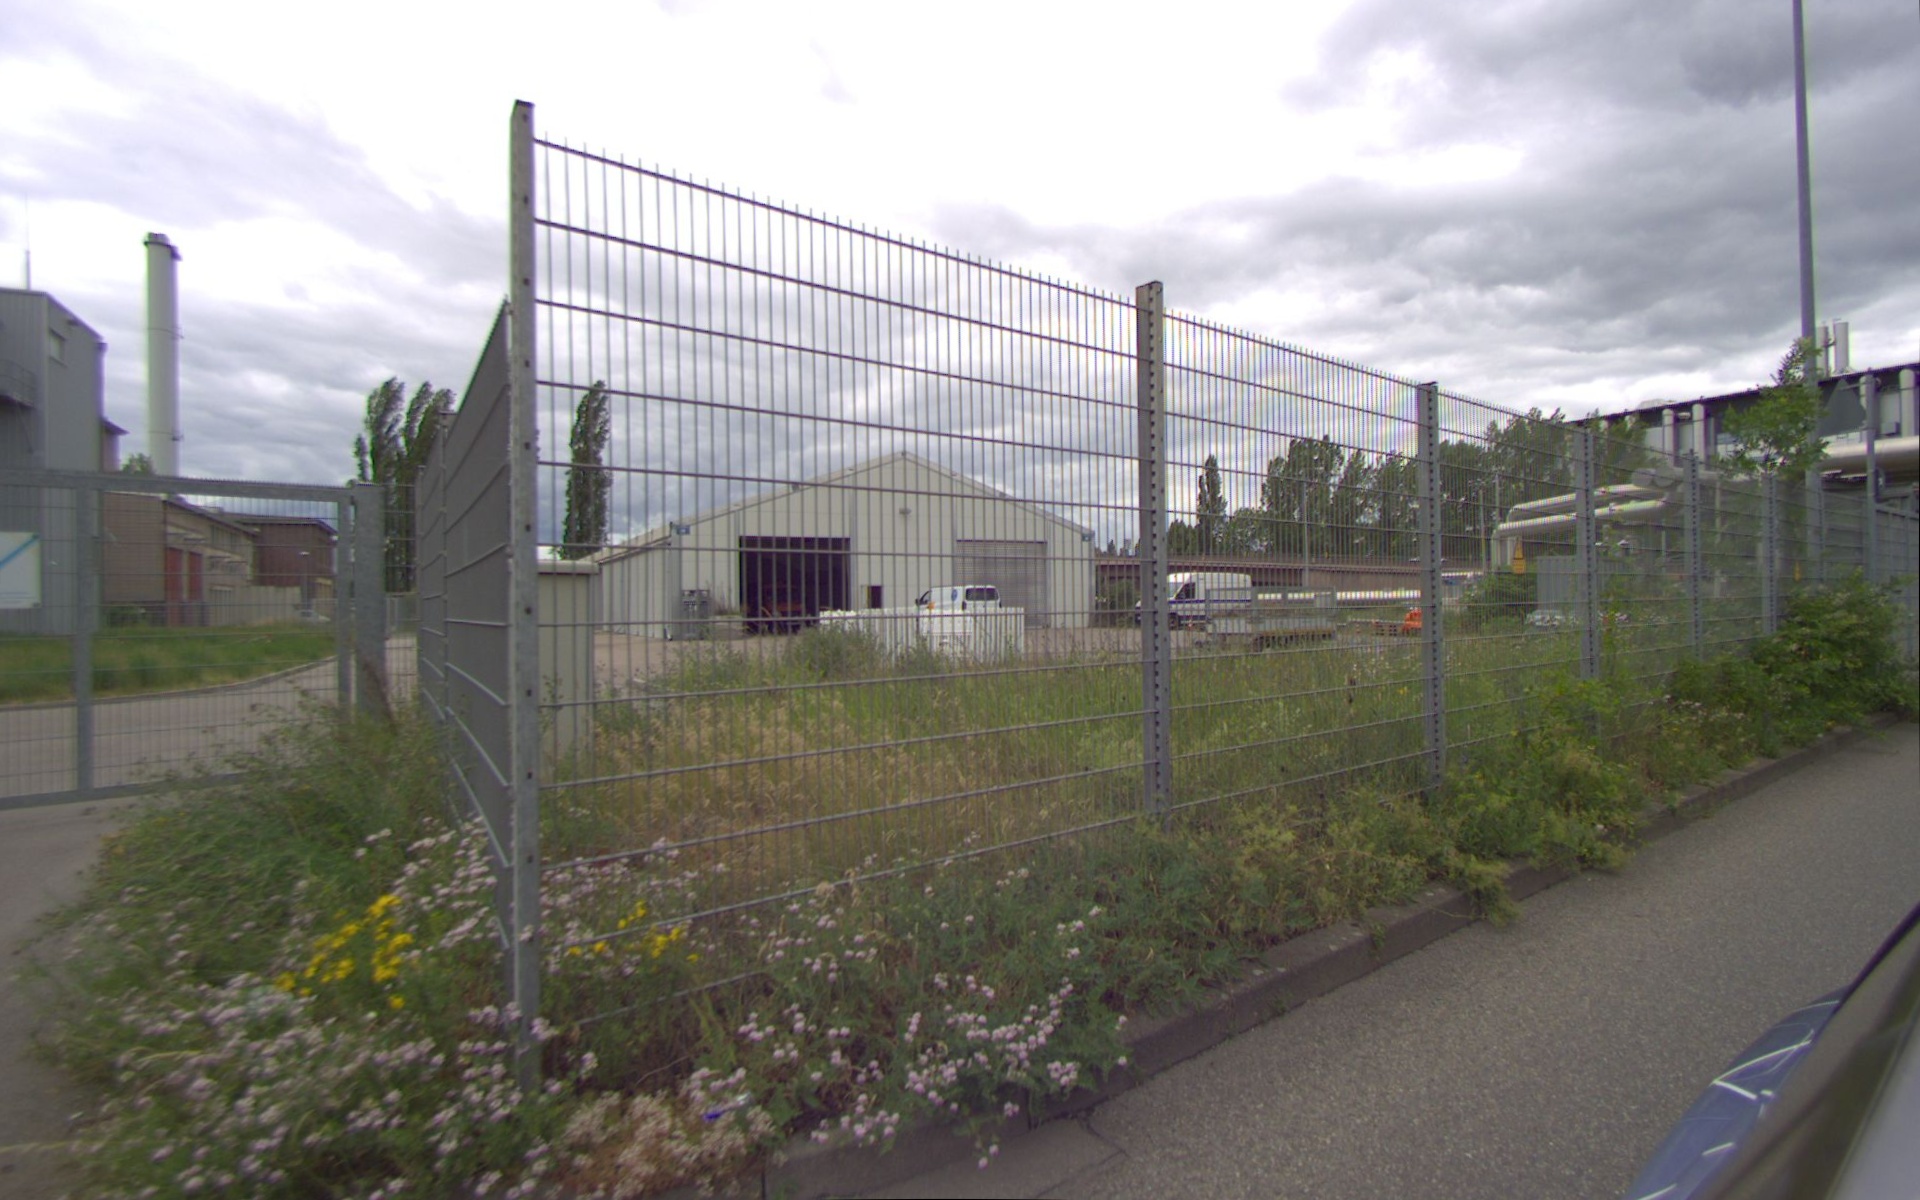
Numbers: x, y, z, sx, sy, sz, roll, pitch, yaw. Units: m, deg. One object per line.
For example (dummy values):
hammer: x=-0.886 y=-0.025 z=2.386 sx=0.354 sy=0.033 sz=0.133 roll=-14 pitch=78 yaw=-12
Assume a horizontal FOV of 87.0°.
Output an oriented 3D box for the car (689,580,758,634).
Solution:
car: x=-11.096 y=0.319 z=47.299 sx=1.960 sy=2.405 sz=4.344 roll=-1 pitch=0 yaw=-30

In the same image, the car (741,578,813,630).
car: x=-8.905 y=0.198 z=48.910 sx=2.068 sy=2.405 sz=4.437 roll=-1 pitch=0 yaw=-30

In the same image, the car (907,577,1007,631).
car: x=-0.184 y=0.164 z=40.698 sx=1.961 sy=2.039 sz=4.342 roll=-1 pitch=0 yaw=-32

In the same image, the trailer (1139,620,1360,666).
trailer: x=6.660 y=0.943 z=23.257 sx=4.595 sy=0.826 sz=2.308 roll=-1 pitch=0 yaw=-29

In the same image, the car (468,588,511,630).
car: x=-31.894 y=0.577 z=68.539 sx=2.443 sy=2.680 sz=5.357 roll=0 pitch=0 yaw=-27

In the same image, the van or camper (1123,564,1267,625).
van or camper: x=10.504 y=-0.255 z=45.193 sx=6.001 sy=2.581 sz=2.579 roll=-1 pitch=0 yaw=-27

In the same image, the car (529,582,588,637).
car: x=-20.828 y=0.448 z=52.303 sx=2.367 sy=2.680 sz=5.357 roll=0 pitch=0 yaw=-27
